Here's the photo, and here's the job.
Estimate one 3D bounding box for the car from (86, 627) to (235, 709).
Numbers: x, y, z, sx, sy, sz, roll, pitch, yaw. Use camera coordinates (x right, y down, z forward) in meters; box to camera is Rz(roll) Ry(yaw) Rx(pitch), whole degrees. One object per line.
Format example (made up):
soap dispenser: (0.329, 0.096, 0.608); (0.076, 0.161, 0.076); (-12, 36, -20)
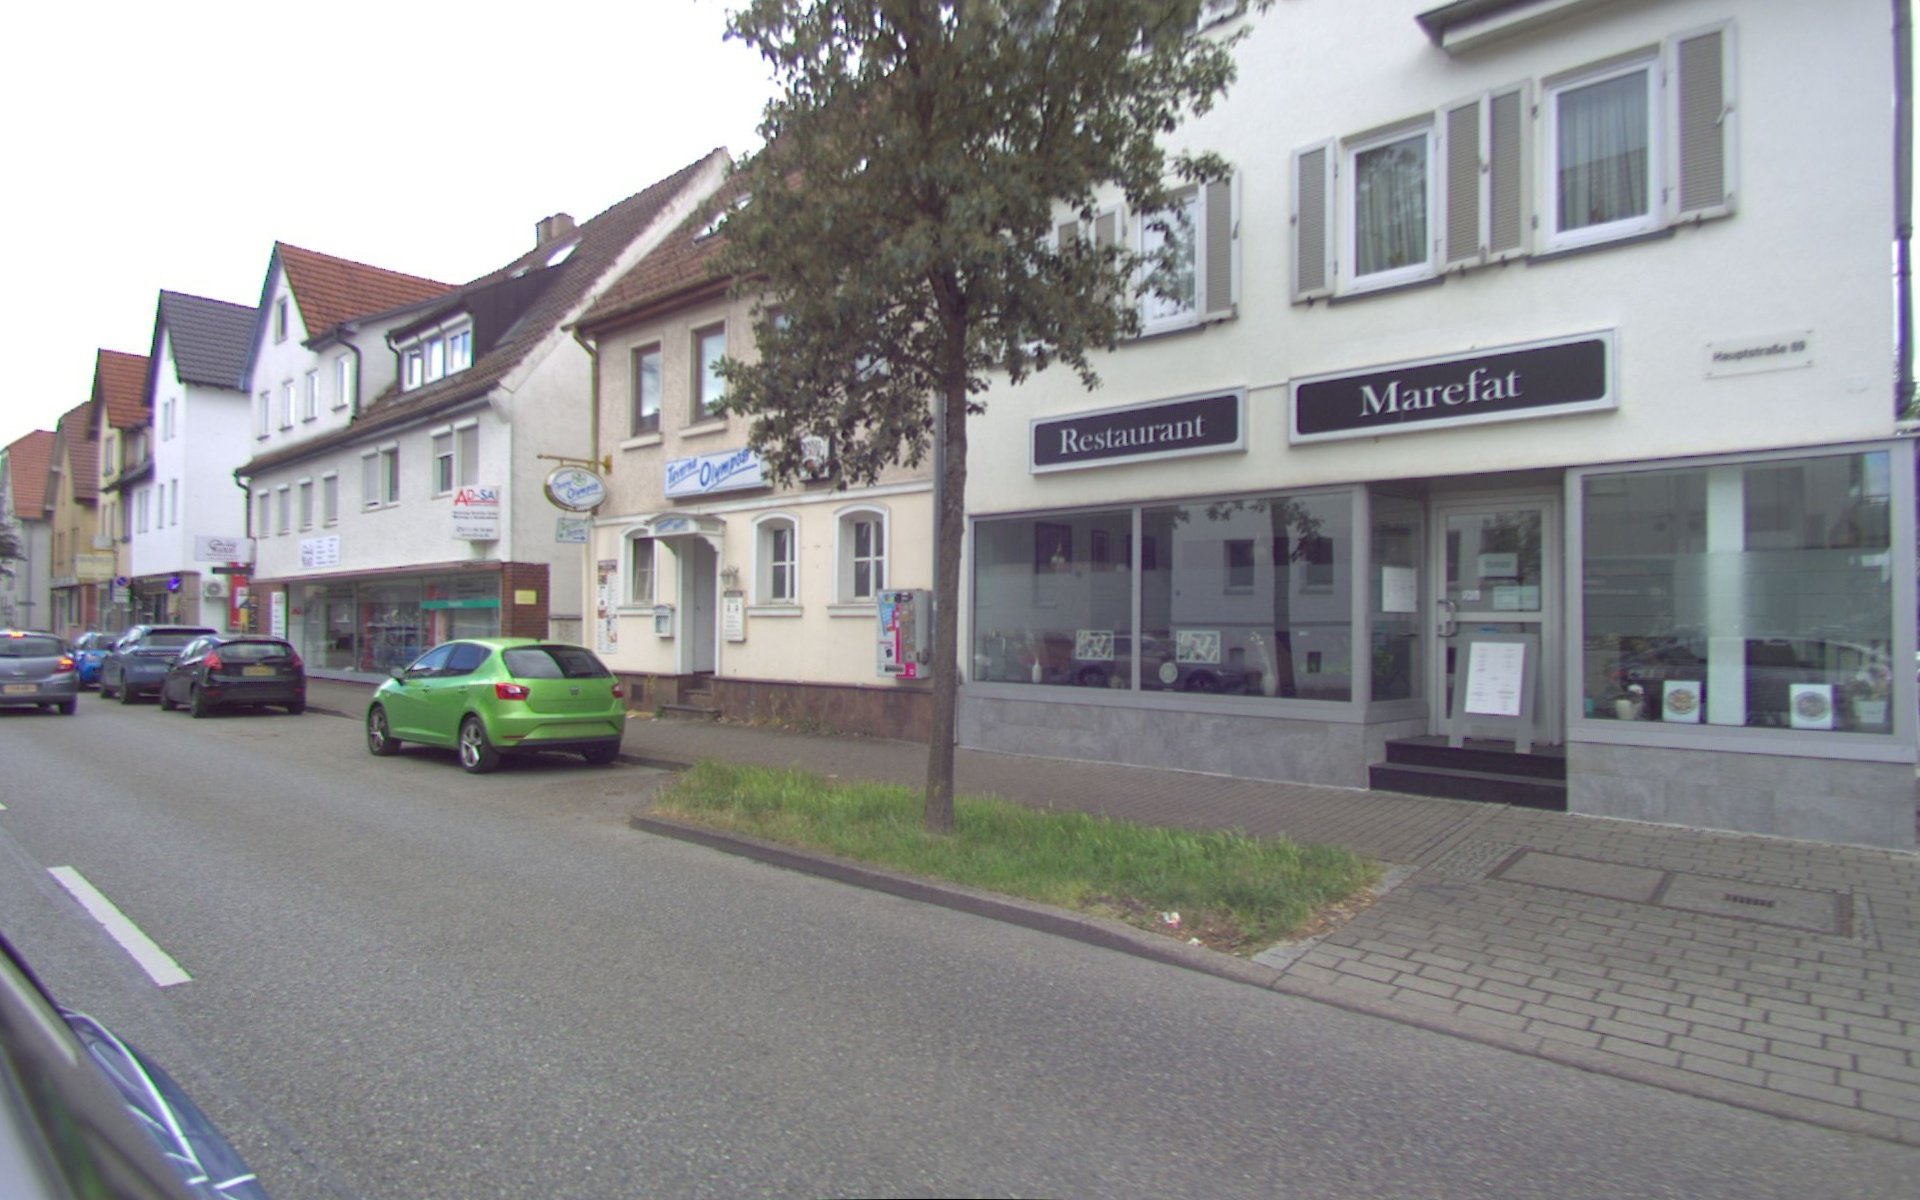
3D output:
car: (-17.518, 1.418, 22.106); (4.302, 1.611, 1.784); (-2, -3, 42)

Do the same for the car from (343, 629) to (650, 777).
car: (-5.566, 1.091, 11.960); (4.016, 1.458, 1.666); (-1, -3, 39)

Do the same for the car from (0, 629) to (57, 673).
car: (-34.160, 1.832, 36.711); (3.590, 1.505, 1.664); (-2, -3, 42)

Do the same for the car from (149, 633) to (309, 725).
car: (-13.623, 1.397, 18.784); (3.811, 1.519, 1.565); (-1, -4, 42)

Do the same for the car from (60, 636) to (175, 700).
car: (-21.650, 1.691, 25.966); (3.773, 1.511, 1.664); (-2, -3, 42)

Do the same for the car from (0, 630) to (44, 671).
car: (-38.476, 2.013, 40.894); (4.112, 1.578, 1.692); (-2, -3, 42)

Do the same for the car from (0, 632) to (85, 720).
car: (-17.419, 1.309, 18.298); (4.015, 1.458, 1.666); (-1, -3, 39)
